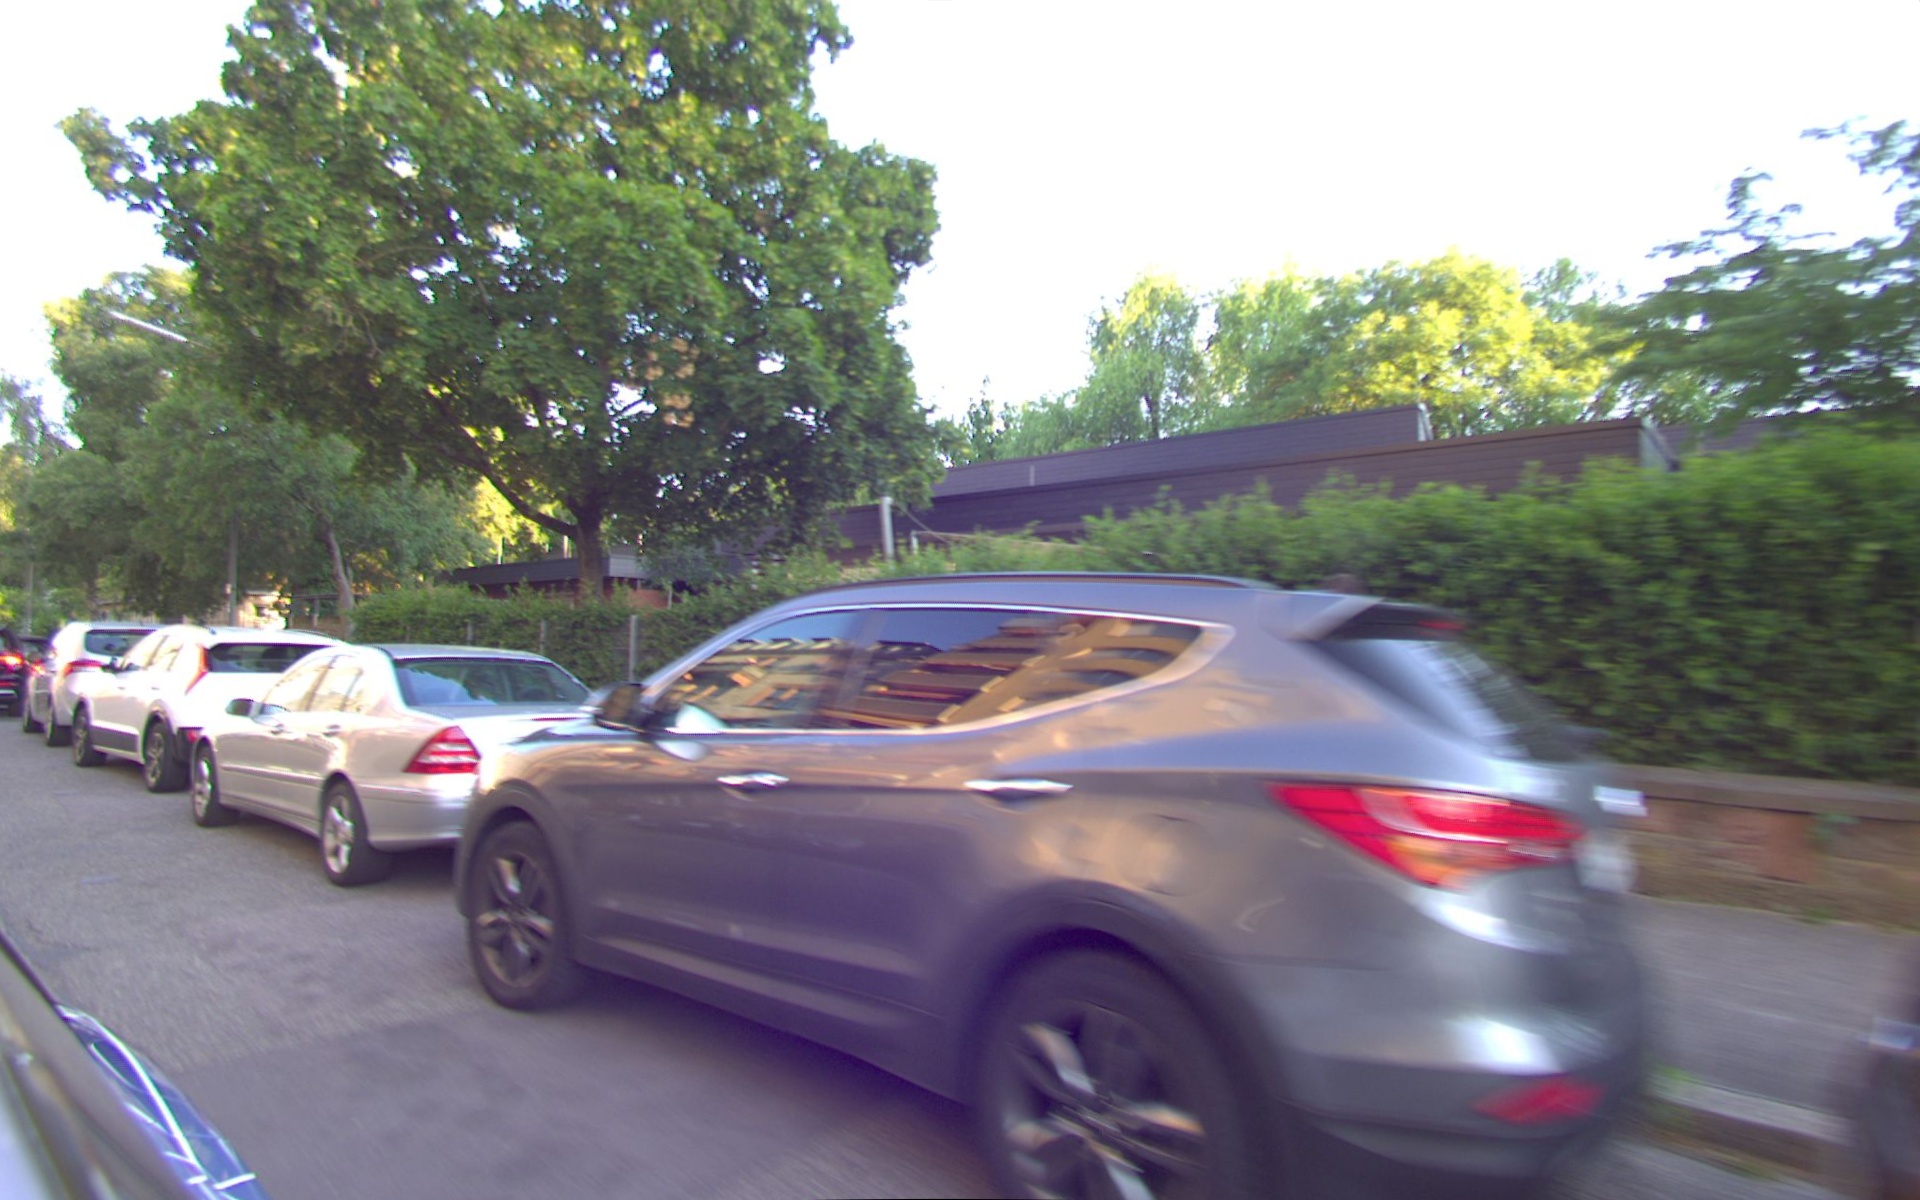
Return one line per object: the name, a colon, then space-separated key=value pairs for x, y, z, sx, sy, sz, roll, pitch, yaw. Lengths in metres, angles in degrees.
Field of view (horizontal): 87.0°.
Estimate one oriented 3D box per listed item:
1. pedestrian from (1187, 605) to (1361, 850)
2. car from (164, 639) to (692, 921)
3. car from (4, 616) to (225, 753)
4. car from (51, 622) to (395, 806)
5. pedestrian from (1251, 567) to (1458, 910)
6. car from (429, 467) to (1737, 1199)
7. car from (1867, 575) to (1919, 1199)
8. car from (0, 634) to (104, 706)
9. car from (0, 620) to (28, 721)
pedestrian: x=2.144 y=0.810 z=6.913 sx=0.901 sy=1.519 sz=0.741 roll=-1 pitch=0 yaw=39
car: x=-3.984 y=1.035 z=7.284 sx=4.281 sy=1.438 sz=1.717 roll=-1 pitch=-4 yaw=38
car: x=-11.880 y=1.110 z=14.132 sx=3.979 sy=1.644 sz=1.715 roll=-2 pitch=-4 yaw=41
car: x=-7.811 y=1.050 z=10.590 sx=4.274 sy=1.555 sz=1.742 roll=-1 pitch=-4 yaw=38
pedestrian: x=2.236 y=0.702 z=5.731 sx=0.888 sy=1.745 sz=0.751 roll=-1 pitch=0 yaw=-43
car: x=0.029 y=0.745 z=3.604 sx=4.317 sy=1.743 sz=1.717 roll=-1 pitch=-4 yaw=38
car: x=3.419 y=0.708 z=0.572 sx=4.161 sy=1.579 sz=1.717 roll=-1 pitch=-4 yaw=38
car: x=-19.975 y=1.486 z=21.930 sx=3.413 sy=1.436 sz=1.603 roll=-2 pitch=-4 yaw=41
car: x=-17.515 y=1.172 z=17.646 sx=1.712 sy=1.644 sz=4.130 roll=4 pitch=-4 yaw=-42
